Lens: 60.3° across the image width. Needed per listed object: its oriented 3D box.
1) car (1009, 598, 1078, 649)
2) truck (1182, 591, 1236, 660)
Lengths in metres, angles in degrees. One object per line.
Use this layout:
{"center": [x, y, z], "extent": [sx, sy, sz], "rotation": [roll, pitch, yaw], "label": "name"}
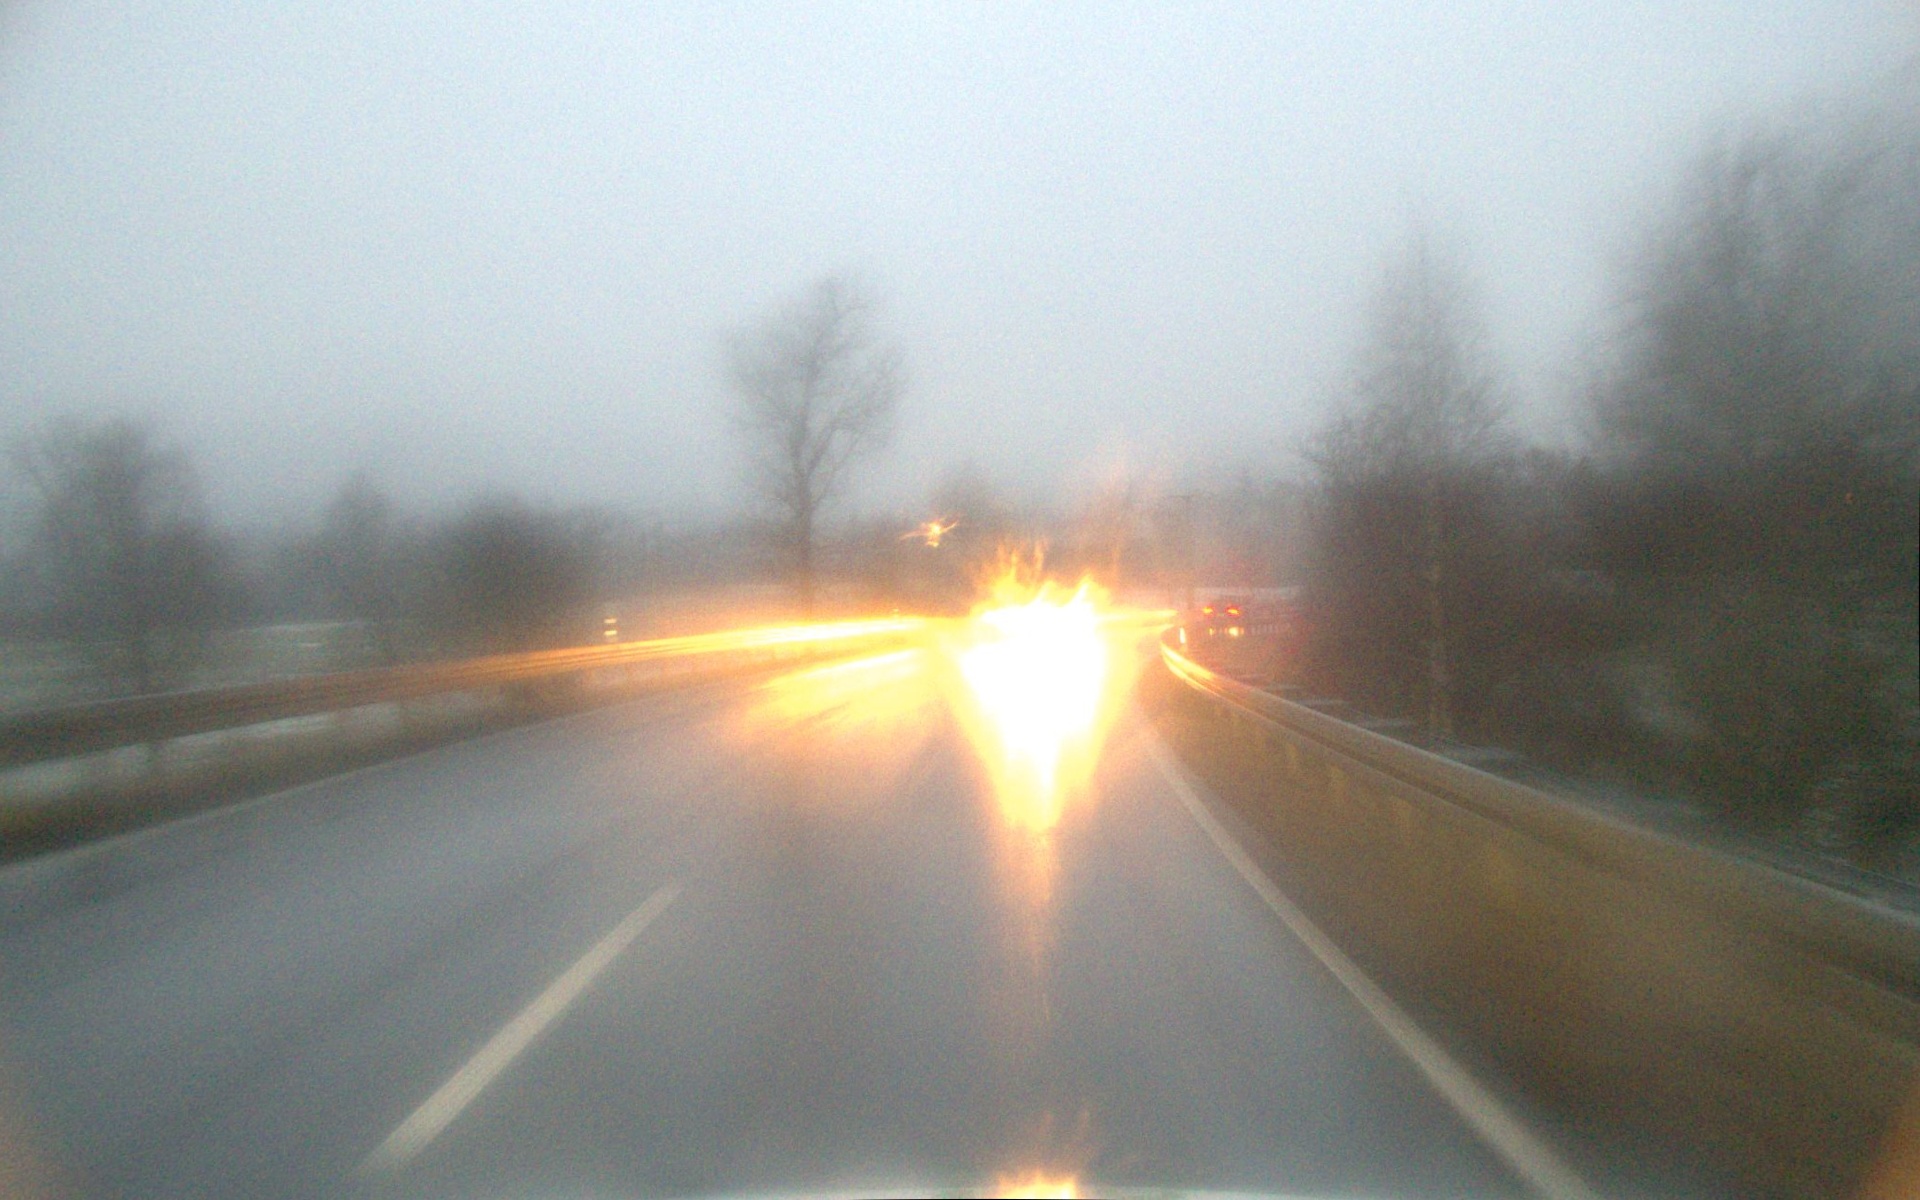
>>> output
{"center": [2.964, 0.775, 57.528], "extent": [1.967, 1.663, 4.877], "rotation": [0, 0, 8], "label": "car"}
{"center": [12.358, 1.213, 82.087], "extent": [2.478, 2.918, 5.929], "rotation": [-1, 3, 9], "label": "truck"}
